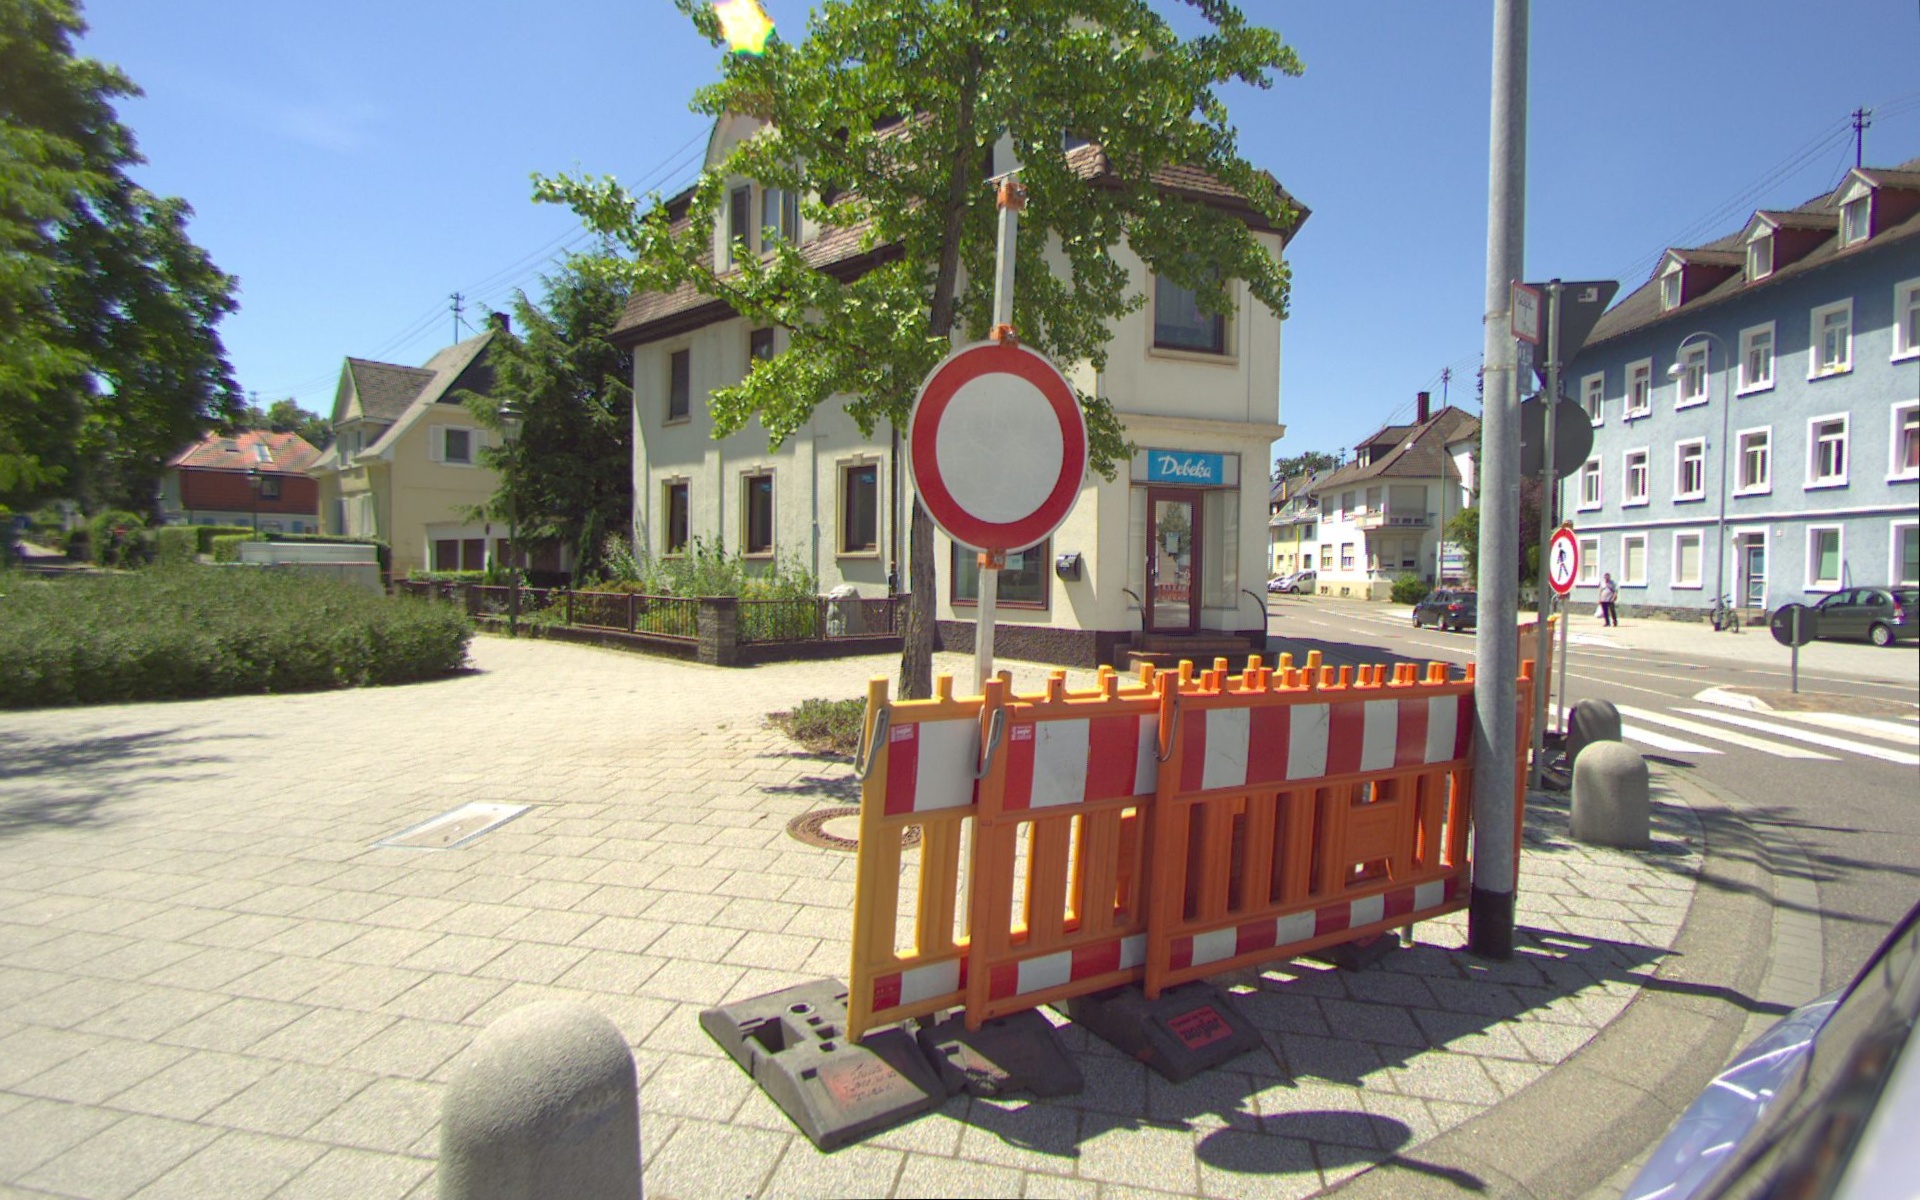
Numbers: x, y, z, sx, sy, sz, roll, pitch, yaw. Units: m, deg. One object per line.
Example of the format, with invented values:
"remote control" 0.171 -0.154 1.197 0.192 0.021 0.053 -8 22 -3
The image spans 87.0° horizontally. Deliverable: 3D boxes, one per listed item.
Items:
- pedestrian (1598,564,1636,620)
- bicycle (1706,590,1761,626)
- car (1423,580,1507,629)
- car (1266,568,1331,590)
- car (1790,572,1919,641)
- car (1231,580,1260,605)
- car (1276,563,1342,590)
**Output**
"pedestrian" 22.757 -0.293 35.048 0.744 1.871 0.772 -2 1 0
"bicycle" 23.704 0.229 31.066 0.489 0.989 1.967 -3 2 11
"car" 17.349 0.107 34.945 1.640 1.470 4.007 3 2 14
"car" 26.653 -1.697 79.688 4.404 1.514 1.975 3 1 3
"car" 24.183 0.115 26.641 1.553 1.552 3.777 1 3 1
"car" 22.228 -0.563 78.620 1.821 1.549 4.364 6 0 19
"car" 26.581 -1.810 77.237 4.278 1.900 1.853 2 1 -5
